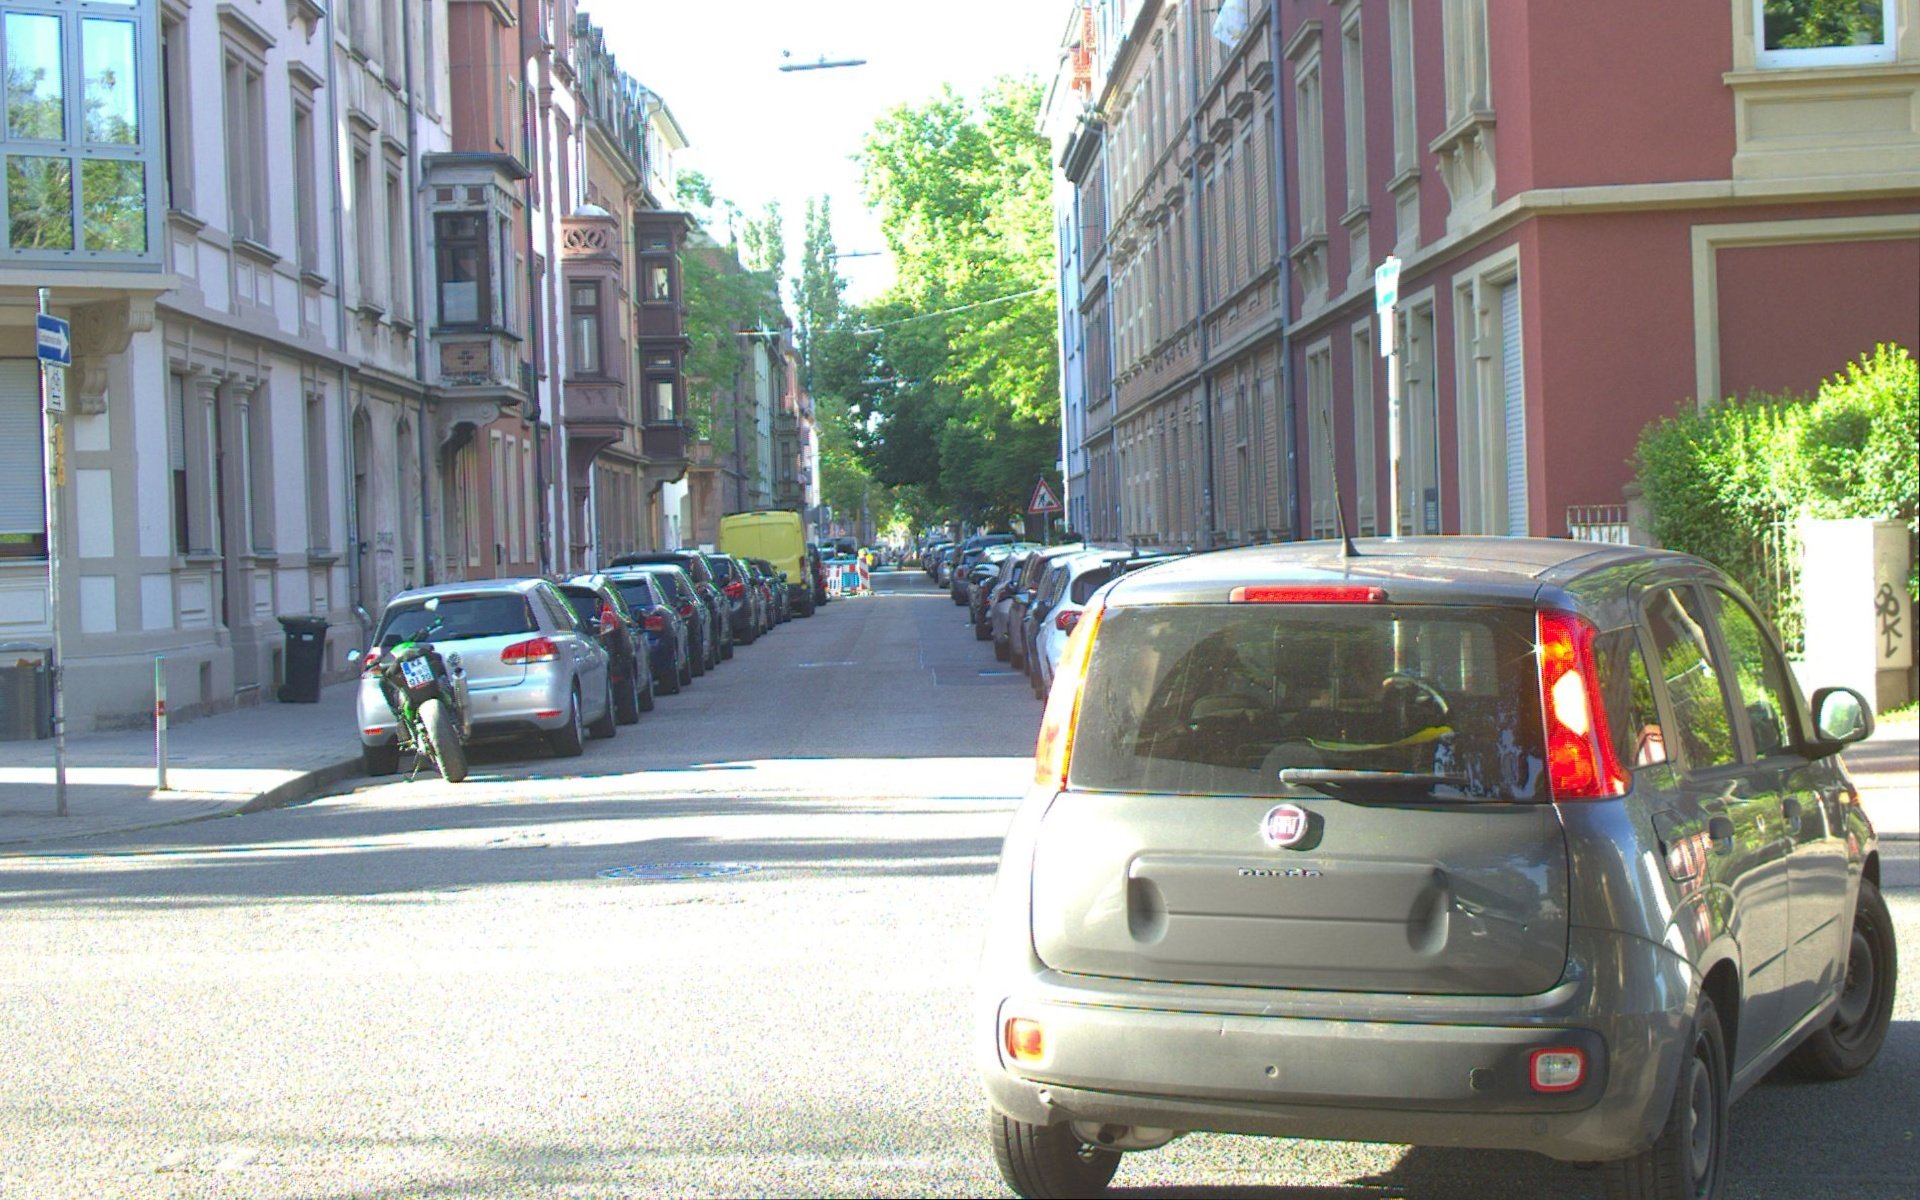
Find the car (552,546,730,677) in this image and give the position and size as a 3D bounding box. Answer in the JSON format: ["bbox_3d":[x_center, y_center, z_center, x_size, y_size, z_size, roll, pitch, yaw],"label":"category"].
[{"bbox_3d":[-4.138,0.117,45.160,1.828,1.474,3.925,-5,1,0],"label":"car"}]

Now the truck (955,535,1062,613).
[{"bbox_3d":[0.947,-0.546,68.755,1.993,1.451,4.000,-2,1,-1],"label":"truck"}]

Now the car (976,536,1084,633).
[{"bbox_3d":[1.098,-0.274,55.480,1.663,1.500,3.757,-1,1,0],"label":"car"}]

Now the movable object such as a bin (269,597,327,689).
[{"bbox_3d":[-7.048,0.450,36.638,0.511,0.949,0.501,-2,1,-3],"label":"movable object such as a bin"}]

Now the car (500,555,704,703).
[{"bbox_3d":[-4.115,0.300,40.060,1.825,1.462,3.925,-5,1,0],"label":"car"}]

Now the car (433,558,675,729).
[{"bbox_3d":[-3.931,0.378,33.843,1.777,1.408,3.925,-5,1,0],"label":"car"}]

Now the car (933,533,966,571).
[{"bbox_3d":[-0.443,-2.099,150.275,1.367,1.612,3.413,-2,1,0],"label":"car"}]

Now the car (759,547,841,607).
[{"bbox_3d":[-4.468,-0.660,96.633,1.962,1.474,3.925,-5,1,0],"label":"car"}]

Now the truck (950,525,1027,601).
[{"bbox_3d":[0.772,-1.031,95.082,1.993,1.985,4.000,-2,1,-1],"label":"truck"}]

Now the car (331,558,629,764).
[{"bbox_3d":[-3.931,0.450,28.757,1.797,1.427,3.925,-5,1,0],"label":"car"}]

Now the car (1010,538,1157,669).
[{"bbox_3d":[1.461,0.002,41.805,1.663,1.500,3.757,-1,1,0],"label":"car"}]

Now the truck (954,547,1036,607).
[{"bbox_3d":[0.888,-0.627,89.706,1.993,1.451,4.000,-2,1,-1],"label":"truck"}]

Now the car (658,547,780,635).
[{"bbox_3d":[-4.683,-0.201,67.259,1.962,1.474,3.925,-5,1,0],"label":"car"}]

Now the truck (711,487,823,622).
[{"bbox_3d":[-4.517,-1.082,81.360,2.070,2.916,5.068,-6,1,0],"label":"truck"}]

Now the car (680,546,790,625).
[{"bbox_3d":[-4.824,-0.332,74.268,1.962,1.474,3.925,-5,1,0],"label":"car"}]

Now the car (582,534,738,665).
[{"bbox_3d":[-4.340,-0.046,50.316,1.775,1.693,3.925,-5,1,0],"label":"car"}]

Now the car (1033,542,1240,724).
[{"bbox_3d":[1.524,0.246,30.805,1.663,1.500,3.757,-1,1,0],"label":"car"}]

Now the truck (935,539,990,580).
[{"bbox_3d":[0.080,-1.538,129.272,1.993,1.451,4.000,-2,1,-1],"label":"truck"}]

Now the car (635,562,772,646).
[{"bbox_3d":[-4.410,0.045,59.608,1.962,1.220,3.925,-5,1,0],"label":"car"}]

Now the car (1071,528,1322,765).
[{"bbox_3d":[1.740,0.295,26.311,1.663,1.663,3.757,-1,1,0],"label":"car"}]

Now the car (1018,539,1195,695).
[{"bbox_3d":[1.459,0.130,35.403,1.663,1.500,3.757,-1,1,0],"label":"car"}]

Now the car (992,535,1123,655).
[{"bbox_3d":[1.283,-0.098,46.394,1.663,1.527,3.757,-1,1,0],"label":"car"}]

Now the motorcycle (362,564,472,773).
[{"bbox_3d":[-4.033,0.483,25.459,0.696,1.455,1.751,-3,1,-10],"label":"motorcycle"}]

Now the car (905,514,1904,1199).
[{"bbox_3d":[1.270,0.571,8.514,1.635,1.545,3.260,1,2,23],"label":"car"}]
